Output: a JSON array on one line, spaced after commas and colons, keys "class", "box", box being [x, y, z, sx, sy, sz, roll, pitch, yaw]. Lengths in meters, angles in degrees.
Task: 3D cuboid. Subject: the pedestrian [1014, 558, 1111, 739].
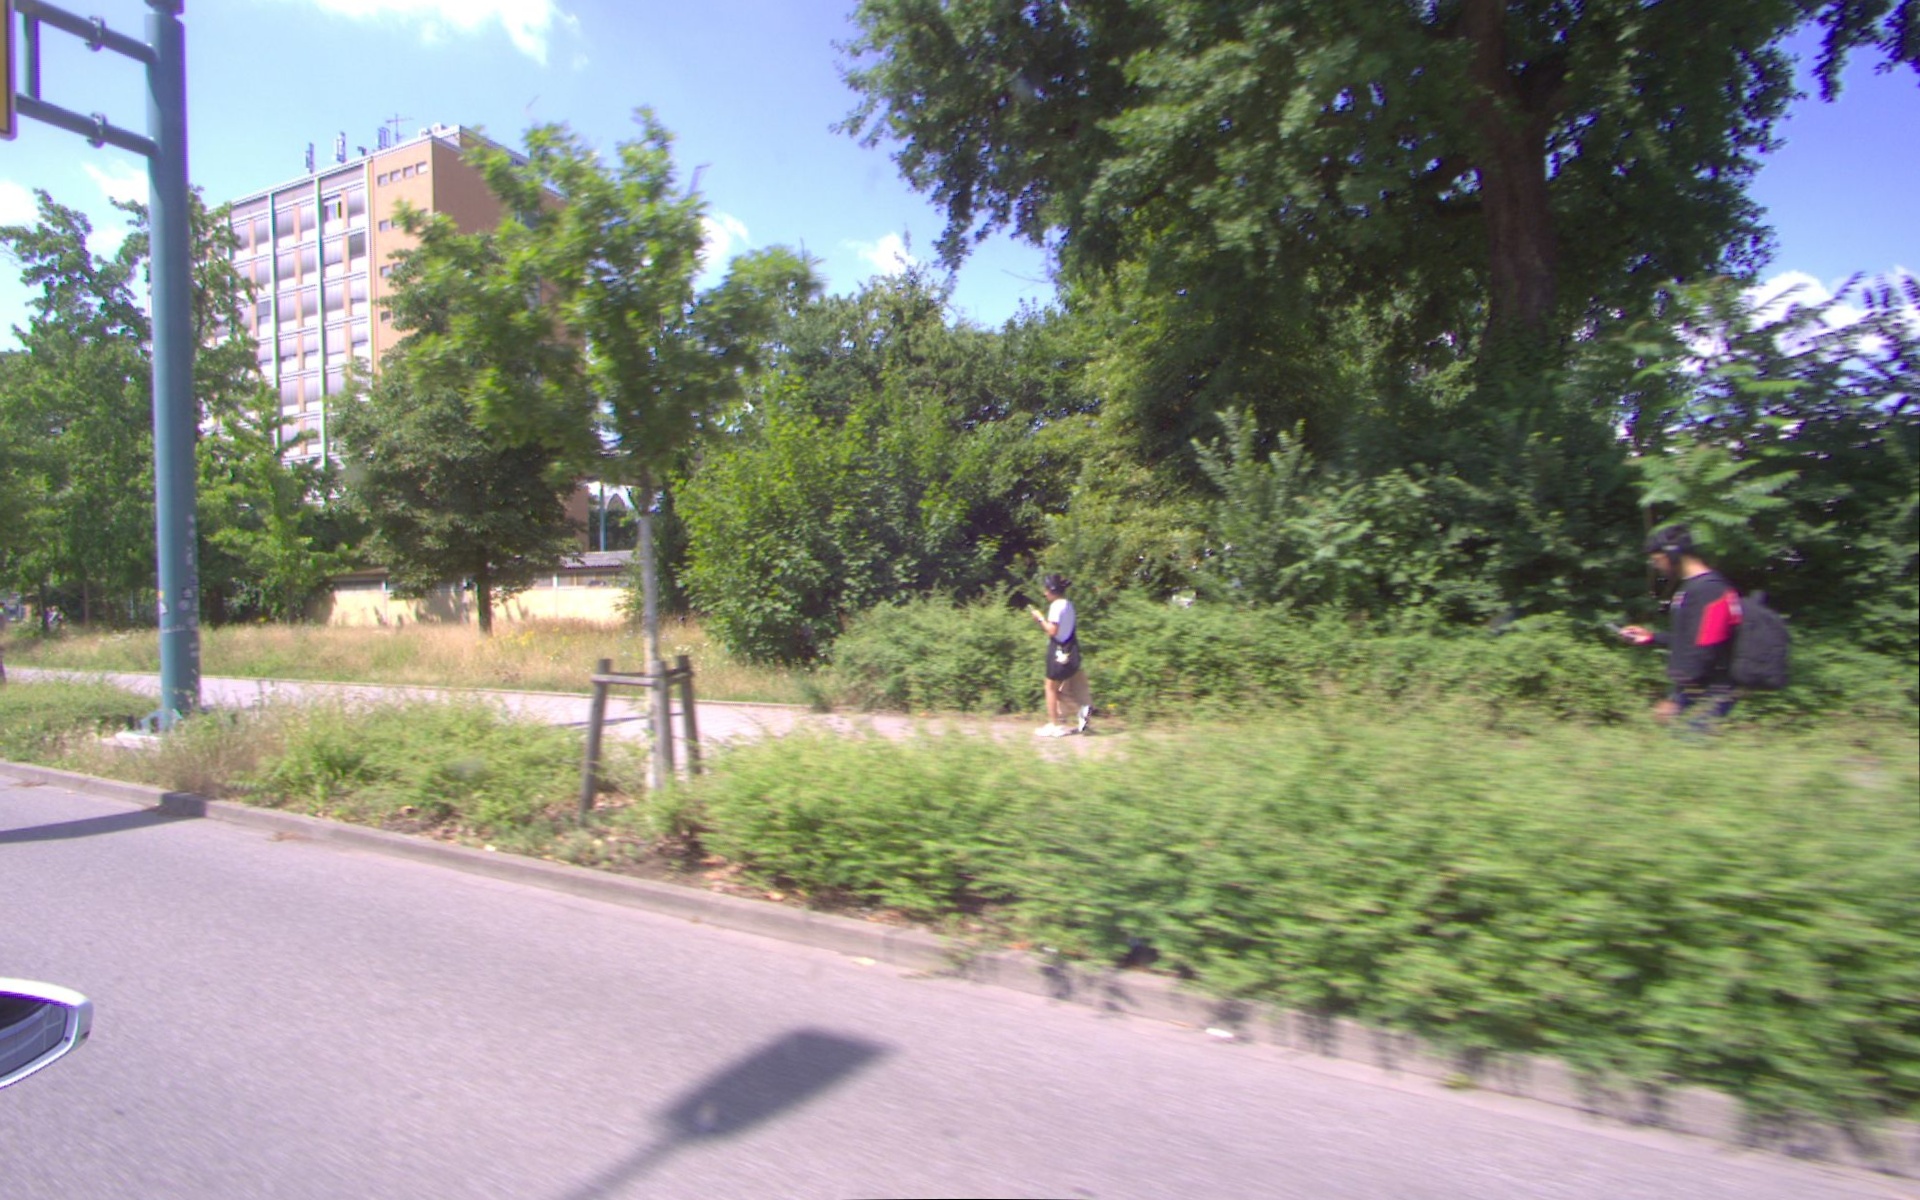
[{"class": "pedestrian", "box": [1.048, 0.473, 10.144, 0.736, 1.744, 0.721, 0, 0, 32]}]

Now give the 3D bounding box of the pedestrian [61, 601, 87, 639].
[{"class": "pedestrian", "box": [-50.210, 1.129, 56.753, 0.832, 2.085, 0.740, 0, 1, 15]}]

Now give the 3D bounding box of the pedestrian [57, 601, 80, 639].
[{"class": "pedestrian", "box": [-49.659, 1.111, 55.783, 0.836, 2.085, 0.736, 0, 1, -31]}]

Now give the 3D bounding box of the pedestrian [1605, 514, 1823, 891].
[{"class": "pedestrian", "box": [3.819, 0.482, 5.148, 0.825, 1.744, 0.715, 0, 0, 32]}]
